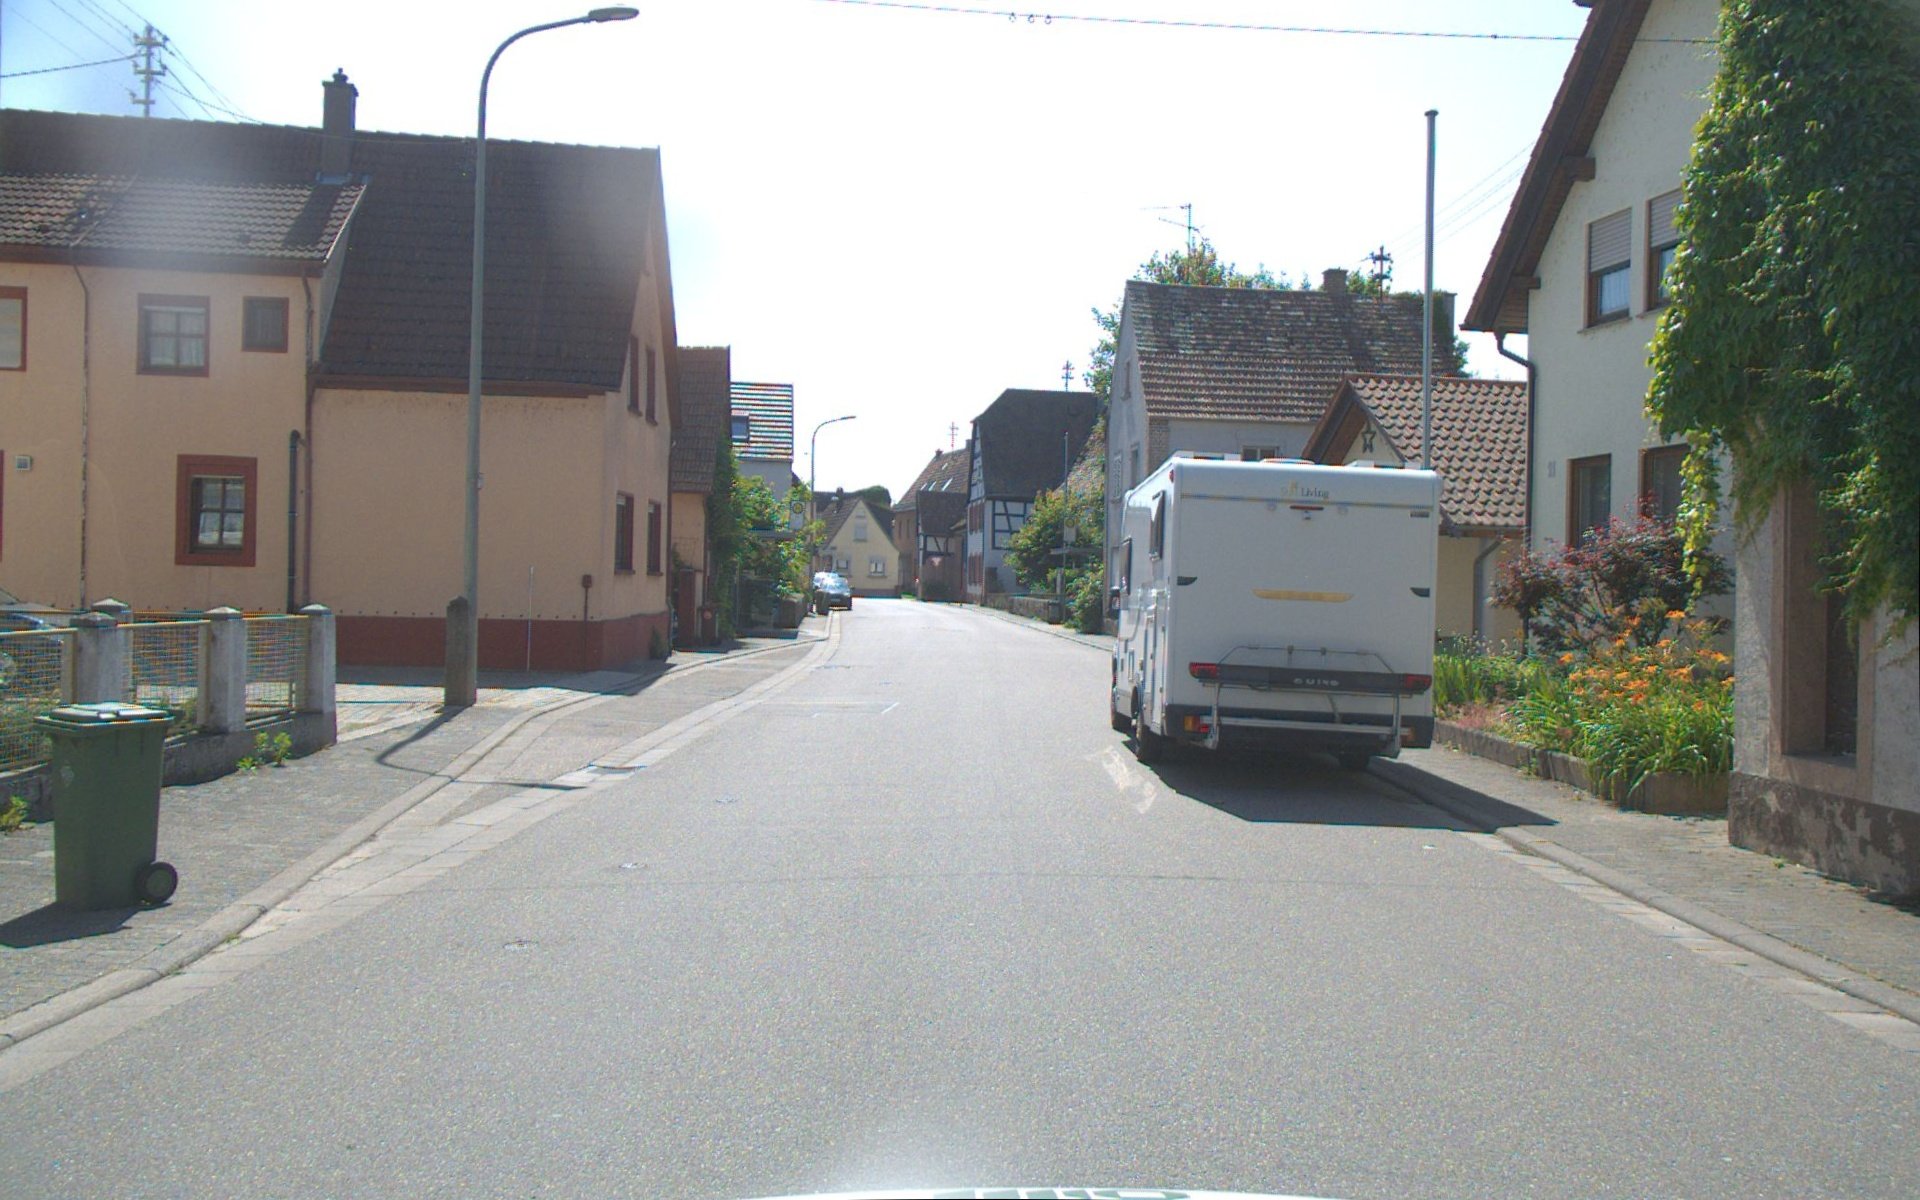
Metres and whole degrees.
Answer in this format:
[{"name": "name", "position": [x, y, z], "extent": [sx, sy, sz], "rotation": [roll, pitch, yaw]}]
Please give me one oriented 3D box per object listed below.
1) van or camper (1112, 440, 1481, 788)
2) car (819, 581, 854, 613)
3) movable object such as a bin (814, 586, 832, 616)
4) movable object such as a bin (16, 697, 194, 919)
[{"name": "van or camper", "position": [2.903, 0.106, 15.490], "extent": [2.470, 2.744, 4.555], "rotation": [1, 0, 0]}, {"name": "car", "position": [-5.866, -0.158, 78.861], "extent": [1.481, 1.461, 3.511], "rotation": [0, 0, -1]}, {"name": "movable object such as a bin", "position": [-5.507, 0.030, 66.410], "extent": [0.674, 1.206, 0.714], "rotation": [0, 0, -1]}, {"name": "movable object such as a bin", "position": [-4.058, 0.971, 7.879], "extent": [0.528, 0.966, 0.553], "rotation": [2, 0, -1]}]
